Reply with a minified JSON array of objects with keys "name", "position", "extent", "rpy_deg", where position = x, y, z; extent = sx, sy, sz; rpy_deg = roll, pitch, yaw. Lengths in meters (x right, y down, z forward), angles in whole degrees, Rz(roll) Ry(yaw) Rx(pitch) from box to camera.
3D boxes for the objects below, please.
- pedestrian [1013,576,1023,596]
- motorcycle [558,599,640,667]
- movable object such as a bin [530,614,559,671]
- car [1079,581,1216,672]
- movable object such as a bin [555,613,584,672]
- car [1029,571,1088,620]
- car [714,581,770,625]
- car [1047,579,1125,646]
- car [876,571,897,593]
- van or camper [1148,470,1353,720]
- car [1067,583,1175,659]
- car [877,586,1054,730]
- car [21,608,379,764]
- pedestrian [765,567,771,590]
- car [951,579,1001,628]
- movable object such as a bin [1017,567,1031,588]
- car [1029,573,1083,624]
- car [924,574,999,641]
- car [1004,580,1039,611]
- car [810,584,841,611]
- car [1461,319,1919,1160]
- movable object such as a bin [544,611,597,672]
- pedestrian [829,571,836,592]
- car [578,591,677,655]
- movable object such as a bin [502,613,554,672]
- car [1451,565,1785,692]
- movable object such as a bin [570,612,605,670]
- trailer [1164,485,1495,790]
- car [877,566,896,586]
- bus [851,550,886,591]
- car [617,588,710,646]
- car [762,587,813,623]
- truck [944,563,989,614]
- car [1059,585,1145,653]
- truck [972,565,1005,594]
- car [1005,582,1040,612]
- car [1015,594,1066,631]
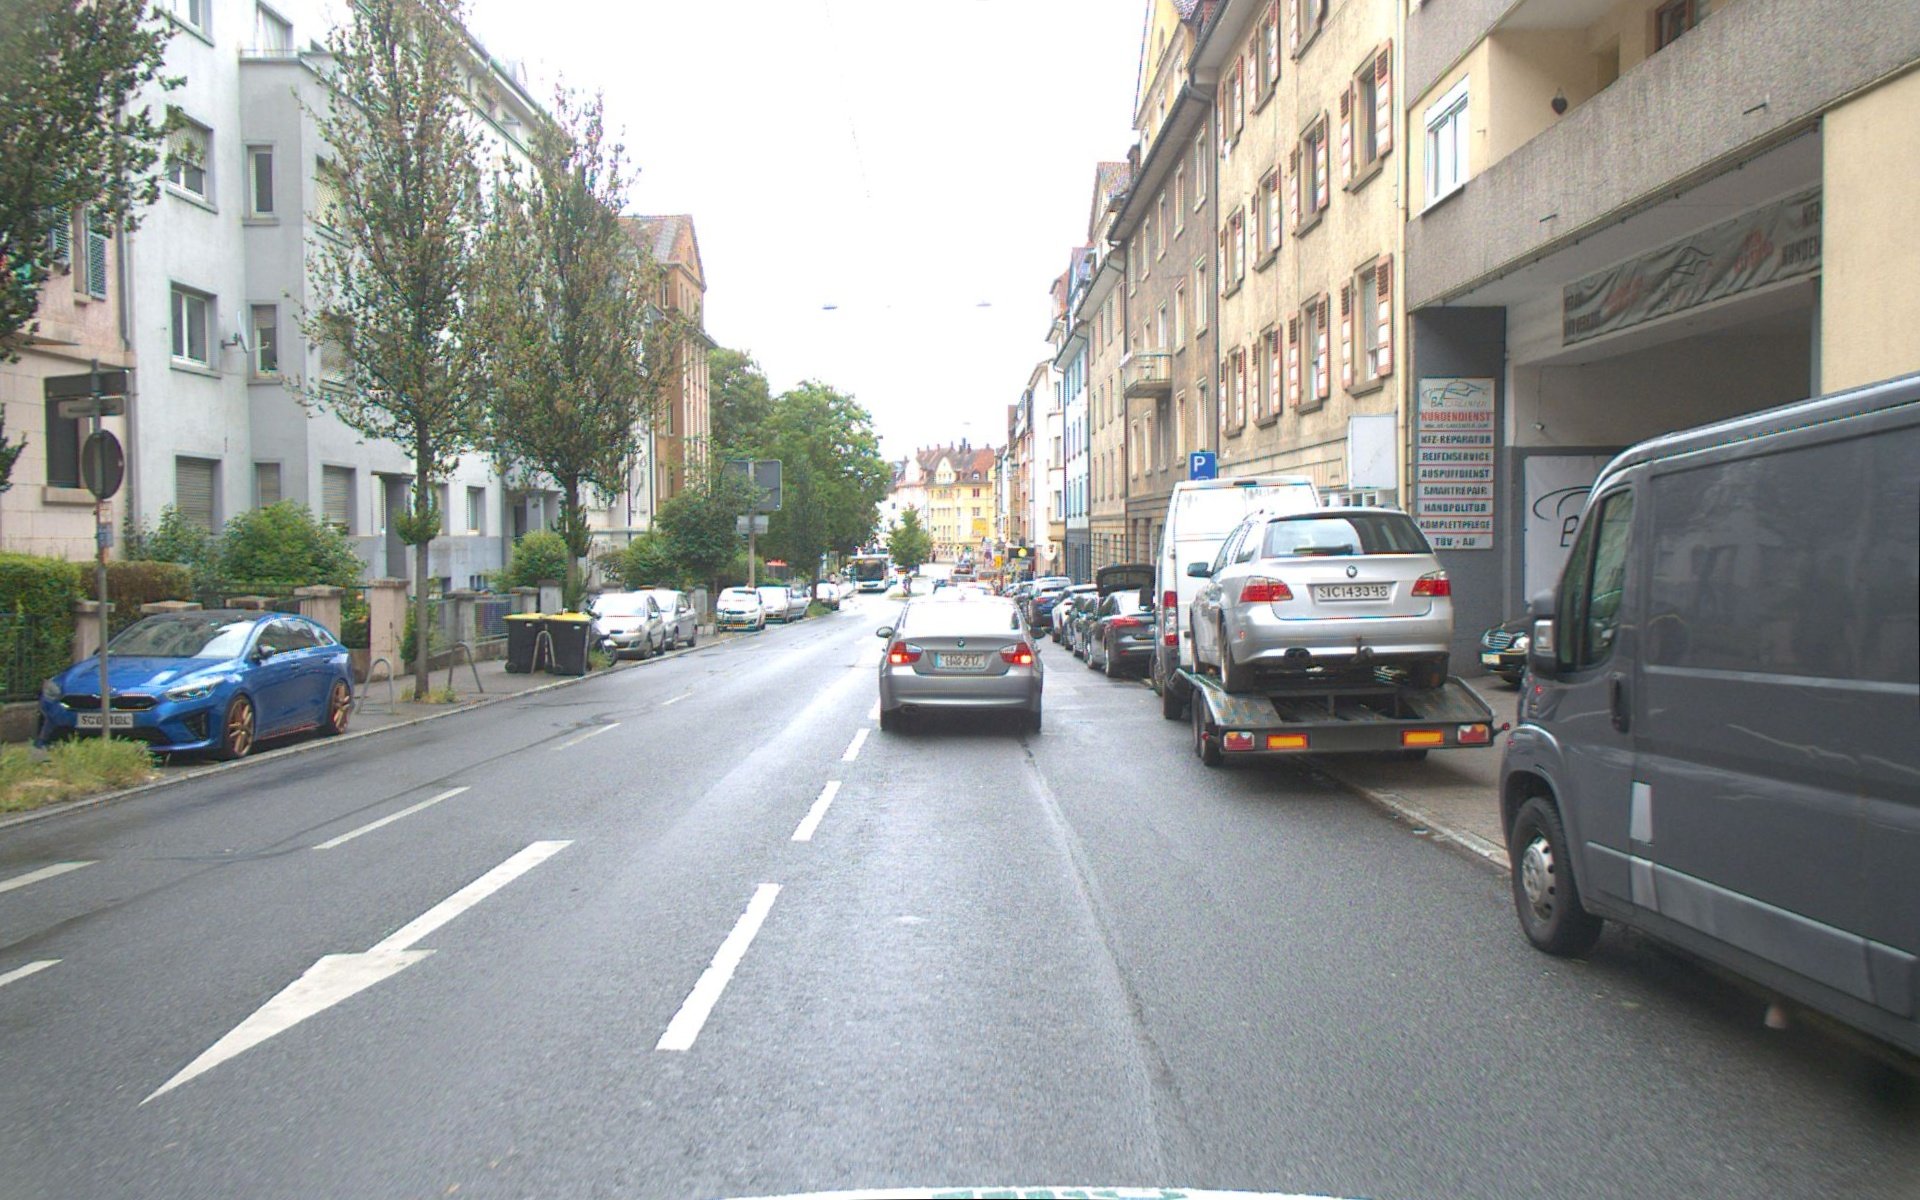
[{"name":"pedestrian","position":[5.021,-1.213,143.415],"extent":[0.734,1.690,0.755],"rpy_deg":[3,-1,7]},{"name":"motorcycle","position":[-7.374,0.656,33.766],"extent":[1.778,1.338,0.738],"rpy_deg":[0,1,41]},{"name":"movable object such as a bin","position":[-8.049,0.823,32.055],"extent":[0.462,1.076,0.482],"rpy_deg":[3,-1,-9]},{"name":"car","position":[3.263,0.444,29.490],"extent":[1.742,1.505,4.187],"rpy_deg":[0,0,-3]},{"name":"movable object such as a bin","position":[-7.396,0.797,31.338],"extent":[0.462,1.076,0.482],"rpy_deg":[3,-1,-9]},{"name":"car","position":[3.362,-0.186,57.083],"extent":[1.754,1.575,4.226],"rpy_deg":[-1,1,0]},{"name":"car","position":[-7.748,0.113,59.072],"extent":[1.612,1.534,3.795],"rpy_deg":[0,0,-2]},{"name":"car","position":[3.417,0.310,45.490],"extent":[1.599,1.667,4.193],"rpy_deg":[3,0,-2]},{"name":"car","position":[-7.562,-1.858,170.195],"extent":[1.953,2.048,3.999],"rpy_deg":[4,0,-2]},{"name":"van or camper","position":[3.587,-0.091,21.574],"extent":[2.138,2.746,6.424],"rpy_deg":[-1,1,6]},{"name":"car","position":[3.361,0.422,35.328],"extent":[1.741,1.505,4.586],"rpy_deg":[0,0,-2]},{"name":"car","position":[0.044,0.584,18.018],"extent":[1.720,1.386,3.164],"rpy_deg":[2,0,-1]},{"name":"car","position":[-7.711,0.798,17.332],"extent":[1.644,1.410,4.602],"rpy_deg":[0,0,0]},{"name":"pedestrian","position":[-15.779,-1.753,135.806],"extent":[0.456,1.821,0.544],"rpy_deg":[3,-1,-7]},{"name":"car","position":[0.506,0.110,50.500],"extent":[1.406,1.380,3.762],"rpy_deg":[3,0,1]},{"name":"movable object such as a bin","position":[5.497,-1.920,142.182],"extent":[1.100,1.732,1.433],"rpy_deg":[-1,0,-3]},{"name":"car","position":[3.664,-0.086,63.539],"extent":[1.754,1.849,4.079],"rpy_deg":[-1,1,-1]},{"name":"car","position":[-0.007,0.172,39.117],"extent":[1.570,1.445,3.286],"rpy_deg":[3,0,-3]},{"name":"car","position":[3.069,-0.236,83.030],"extent":[1.551,1.454,3.594],"rpy_deg":[-3,1,-1]},{"name":"car","position":[-7.666,-0.144,94.540],"extent":[1.620,1.479,3.941],"rpy_deg":[0,1,-2]},{"name":"car","position":[3.528,0.346,5.247],"extent":[2.110,2.186,5.509],"rpy_deg":[-1,0,-1]},{"name":"movable object such as a bin","position":[-7.213,0.759,30.653],"extent":[0.808,1.076,0.483],"rpy_deg":[3,-1,1]},{"name":"pedestrian","position":[-11.002,-1.590,142.559],"extent":[0.532,1.739,0.465],"rpy_deg":[3,-1,-7]},{"name":"car","position":[-7.674,0.519,38.461],"extent":[1.568,1.421,3.886],"rpy_deg":[0,0,-1]},{"name":"movable object such as a bin","position":[-8.128,0.793,31.119],"extent":[0.808,1.076,0.483],"rpy_deg":[2,-1,1]},{"name":"car","position":[8.545,0.335,21.665],"extent":[3.581,1.415,1.897],"rpy_deg":[-2,2,-5]},{"name":"movable object such as a bin","position":[-7.214,0.790,32.070],"extent":[0.513,1.076,0.483],"rpy_deg":[3,-1,1]},{"name":"trailer","position":[3.041,0.214,14.772],"extent":[1.952,2.189,5.074],"rpy_deg":[-2,1,2]},{"name":"car","position":[-8.214,-2.644,184.256],"extent":[1.953,2.049,3.999],"rpy_deg":[3,0,-1]},{"name":"bus","position":[-8.140,-2.547,148.209],"extent":[2.627,3.256,11.952],"rpy_deg":[3,0,-1]},{"name":"car","position":[-7.781,0.437,43.711],"extent":[1.567,1.476,3.889],"rpy_deg":[0,0,3]},{"name":"car","position":[-7.191,0.183,69.237],"extent":[1.648,1.414,3.909],"rpy_deg":[1,0,0]},{"name":"truck","position":[0.310,-0.574,89.720],"extent":[2.172,2.588,4.778],"rpy_deg":[3,0,-1]},{"name":"car","position":[3.409,0.425,40.366],"extent":[1.599,1.504,3.733],"rpy_deg":[3,0,-2]},{"name":"truck","position":[2.288,-1.661,134.903],"extent":[2.172,2.153,4.648],"rpy_deg":[4,0,-5]},{"name":"car","position":[3.432,-0.193,91.487],"extent":[1.780,1.585,4.293],"rpy_deg":[-2,0,0]},{"name":"car","position":[3.406,0.507,70.306],"extent":[1.803,1.433,4.386],"rpy_deg":[-2,0,-1]}]
